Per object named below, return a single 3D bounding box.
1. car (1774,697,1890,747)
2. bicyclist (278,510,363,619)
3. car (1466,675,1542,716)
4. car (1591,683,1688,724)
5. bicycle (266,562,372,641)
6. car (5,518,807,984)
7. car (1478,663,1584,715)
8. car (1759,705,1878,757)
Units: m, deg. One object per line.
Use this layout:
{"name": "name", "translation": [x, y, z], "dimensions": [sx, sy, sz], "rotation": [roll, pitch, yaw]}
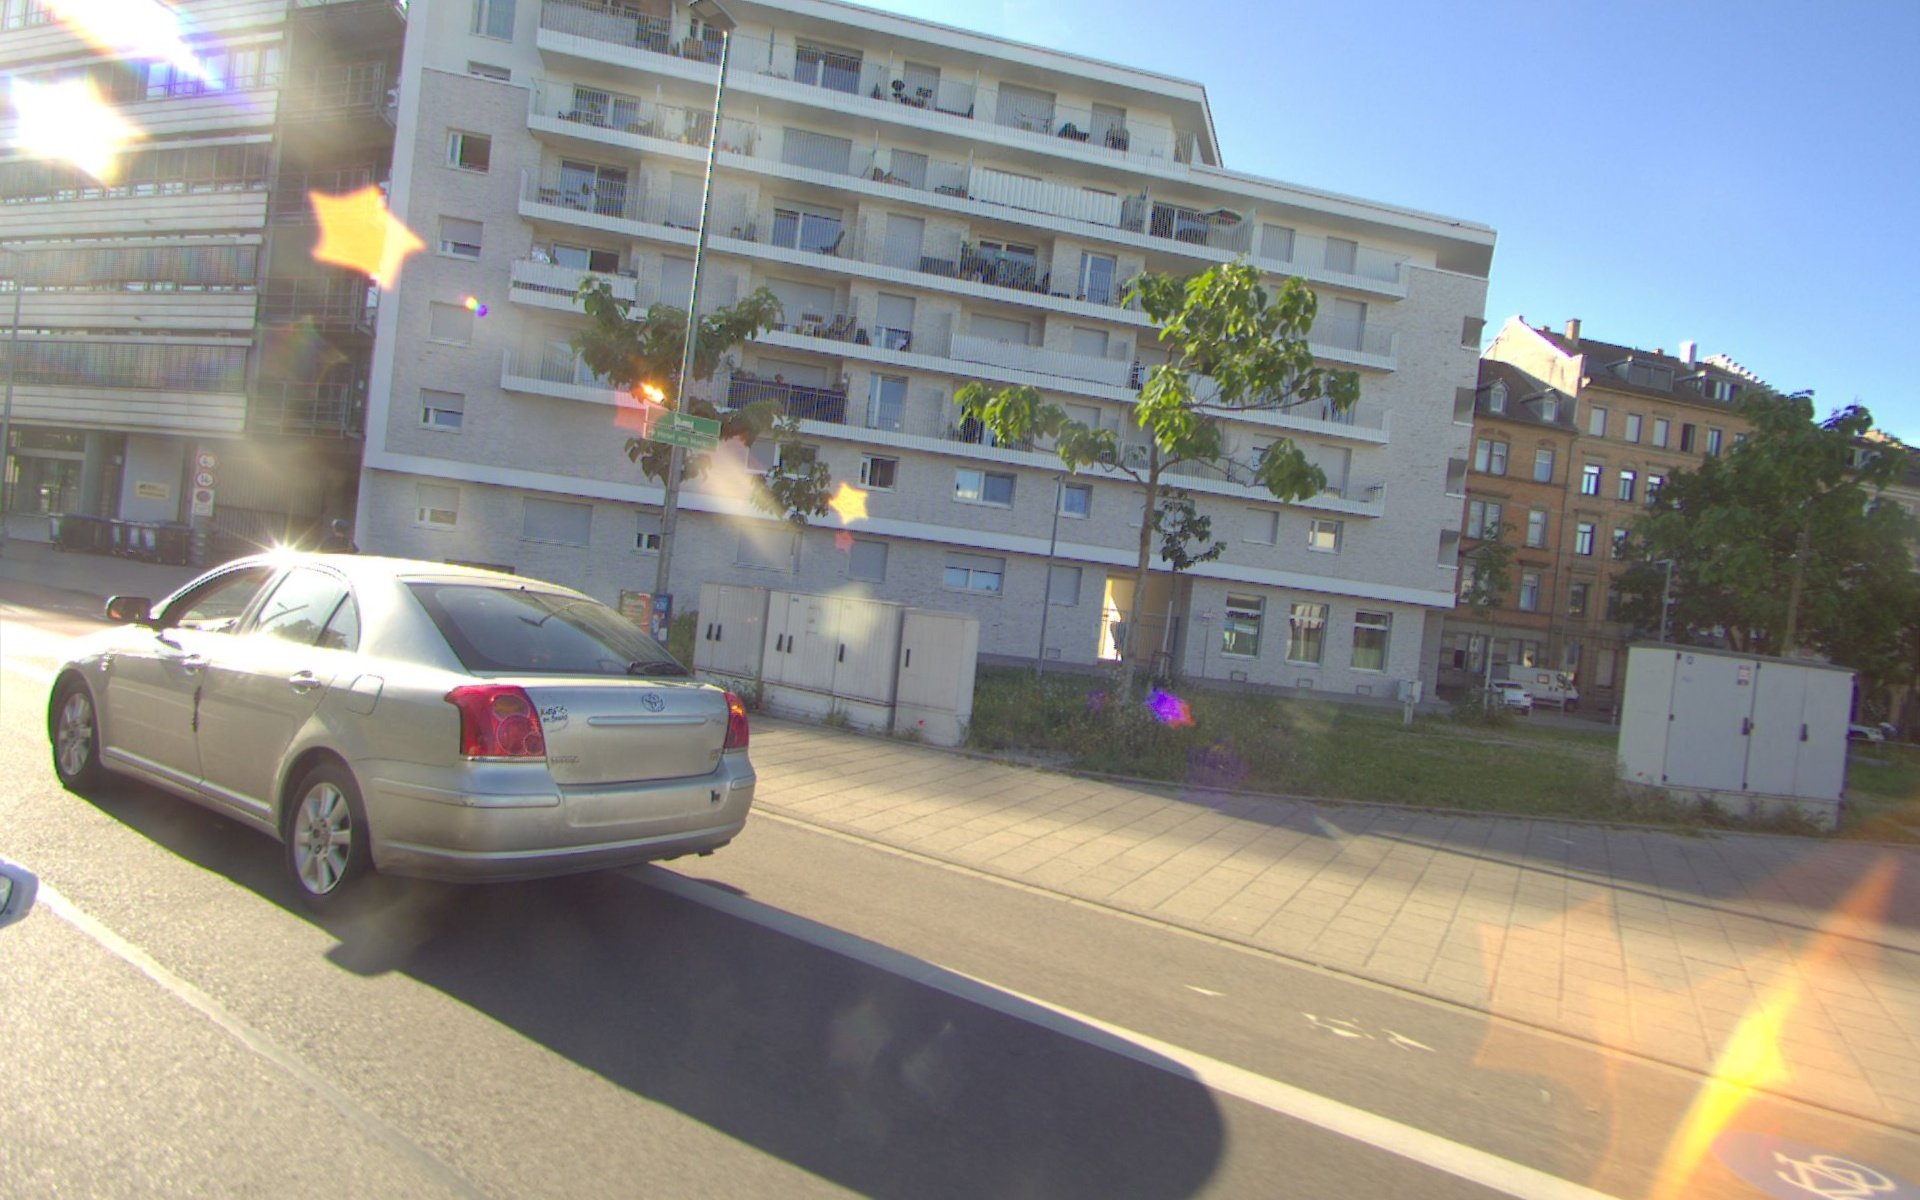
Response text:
{"name": "car", "translation": [41.549, 5.779, 48.061], "dimensions": [3.941, 1.738, 1.992], "rotation": [6, -1, 39]}
{"name": "bicyclist", "translation": [-10.083, -0.561, 15.865], "dimensions": [1.026, 1.586, 0.625], "rotation": [6, 0, 32]}
{"name": "car", "translation": [23.967, 4.174, 44.458], "dimensions": [1.962, 1.415, 4.002], "rotation": [6, -1, 15]}
{"name": "car", "translation": [38.286, 5.806, 56.810], "dimensions": [1.967, 1.738, 4.254], "rotation": [6, -1, -11]}
{"name": "bicycle", "translation": [-10.183, 0.008, 15.949], "dimensions": [2.170, 1.045, 0.499], "rotation": [6, 0, 34]}
{"name": "car", "translation": [-3.153, 0.497, 5.429], "dimensions": [4.414, 1.448, 1.753], "rotation": [6, 0, 32]}
{"name": "car", "translation": [30.790, 4.788, 54.322], "dimensions": [4.515, 2.238, 1.997], "rotation": [7, 0, -9]}
{"name": "car", "translation": [39.620, 6.010, 46.558], "dimensions": [3.941, 1.738, 1.992], "rotation": [6, -1, 39]}
